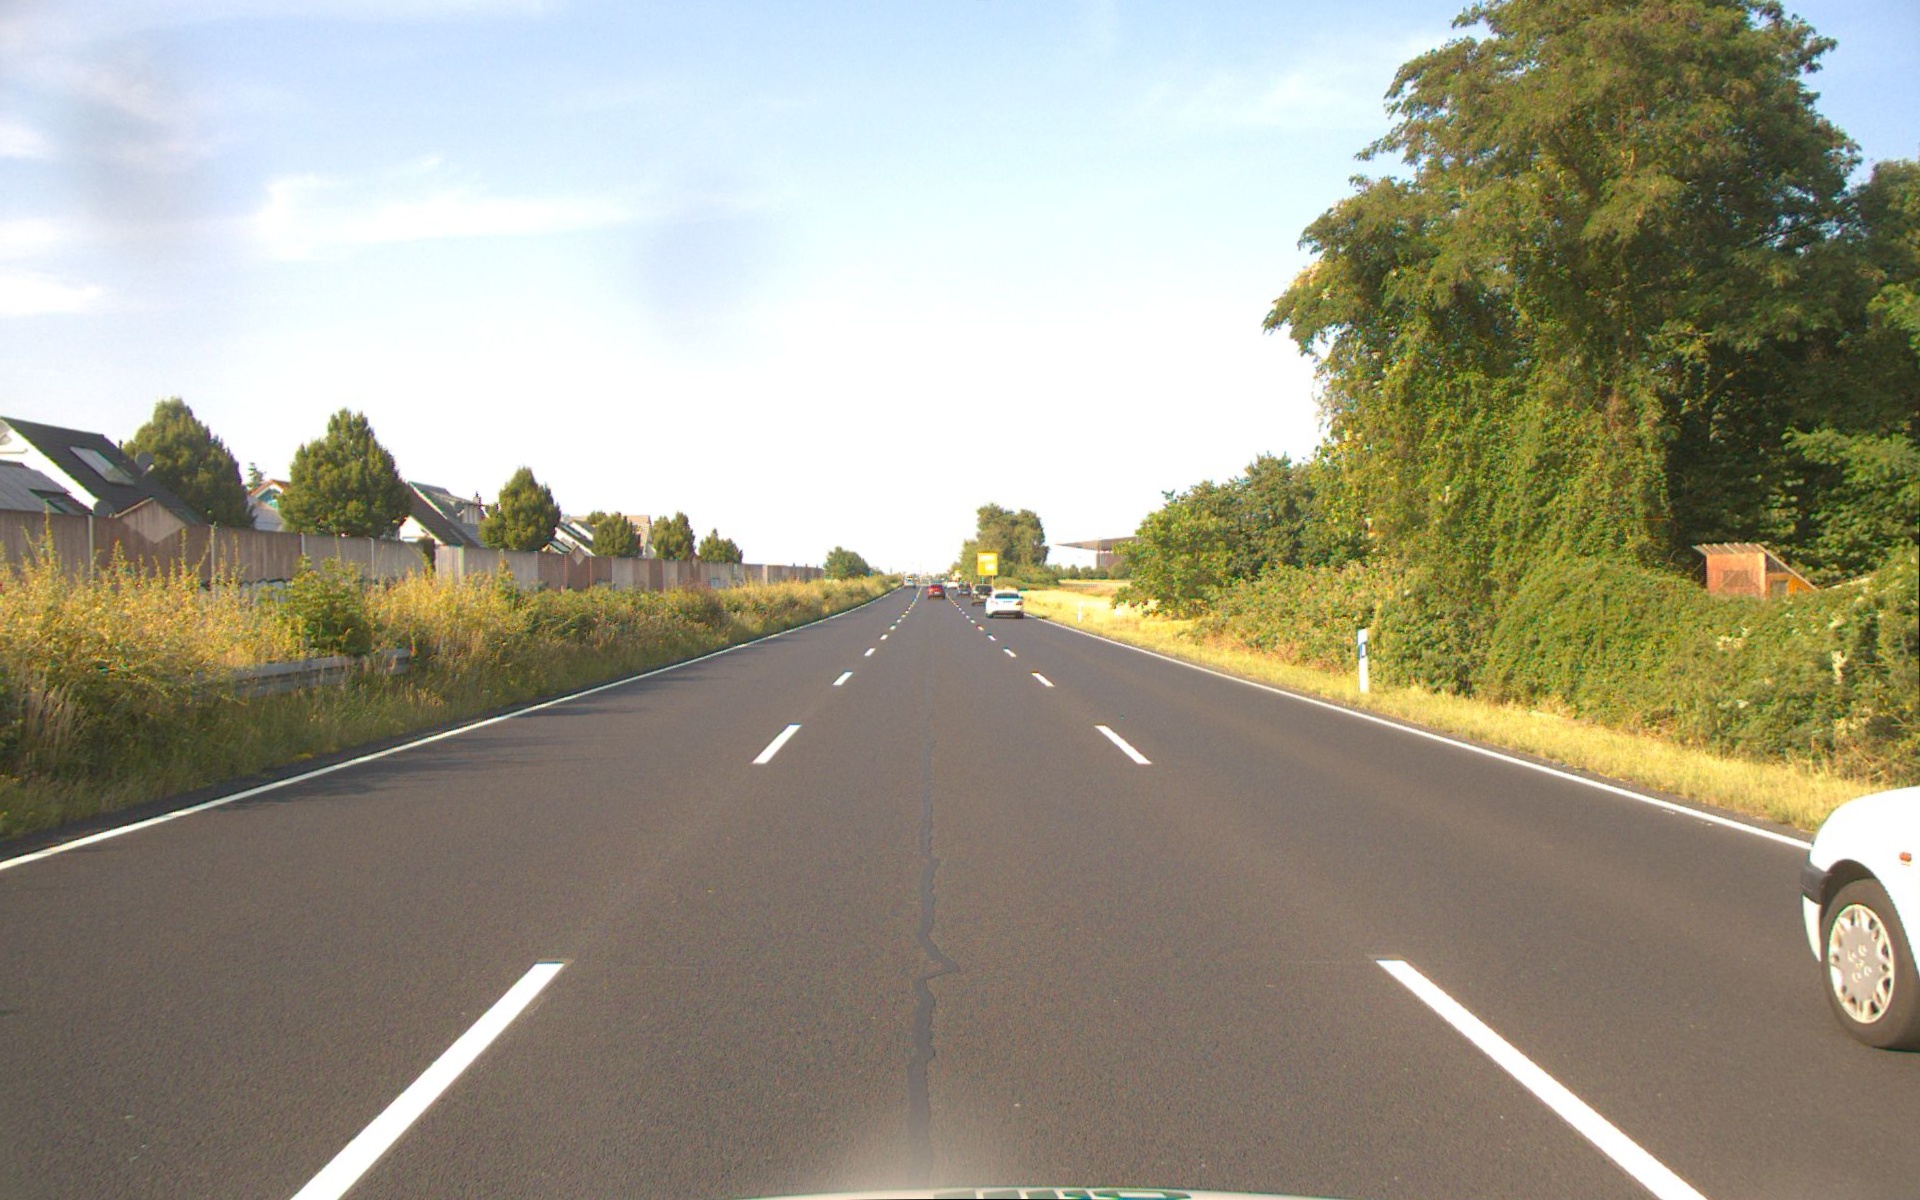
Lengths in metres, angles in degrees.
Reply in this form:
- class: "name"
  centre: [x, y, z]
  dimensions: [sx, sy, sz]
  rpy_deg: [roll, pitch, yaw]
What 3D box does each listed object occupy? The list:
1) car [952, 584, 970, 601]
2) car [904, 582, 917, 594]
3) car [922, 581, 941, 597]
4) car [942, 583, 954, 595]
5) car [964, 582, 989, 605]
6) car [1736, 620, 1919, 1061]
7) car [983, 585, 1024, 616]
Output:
- class: "car"
  centre: [0.102, -0.781, 179.077]
  dimensions: [1.797, 1.747, 3.861]
  rpy_deg: [1, 0, -1]
- class: "car"
  centre: [-7.808, -1.878, 258.941]
  dimensions: [1.953, 1.747, 3.999]
  rpy_deg: [1, 0, -1]
- class: "car"
  centre: [-2.815, -1.043, 161.106]
  dimensions: [1.775, 1.461, 3.857]
  rpy_deg: [1, 0, -2]
- class: "car"
  centre: [-1.845, -1.652, 254.939]
  dimensions: [1.809, 1.780, 3.999]
  rpy_deg: [1, 0, -1]
- class: "car"
  centre: [1.236, -0.504, 128.937]
  dimensions: [1.791, 1.758, 3.999]
  rpy_deg: [1, 0, -1]
- class: "car"
  centre: [3.917, 0.794, 4.586]
  dimensions: [1.584, 1.411, 3.950]
  rpy_deg: [1, 0, -2]
- class: "car"
  centre: [2.245, 0.048, 86.094]
  dimensions: [1.953, 1.543, 3.999]
  rpy_deg: [1, 0, -1]
